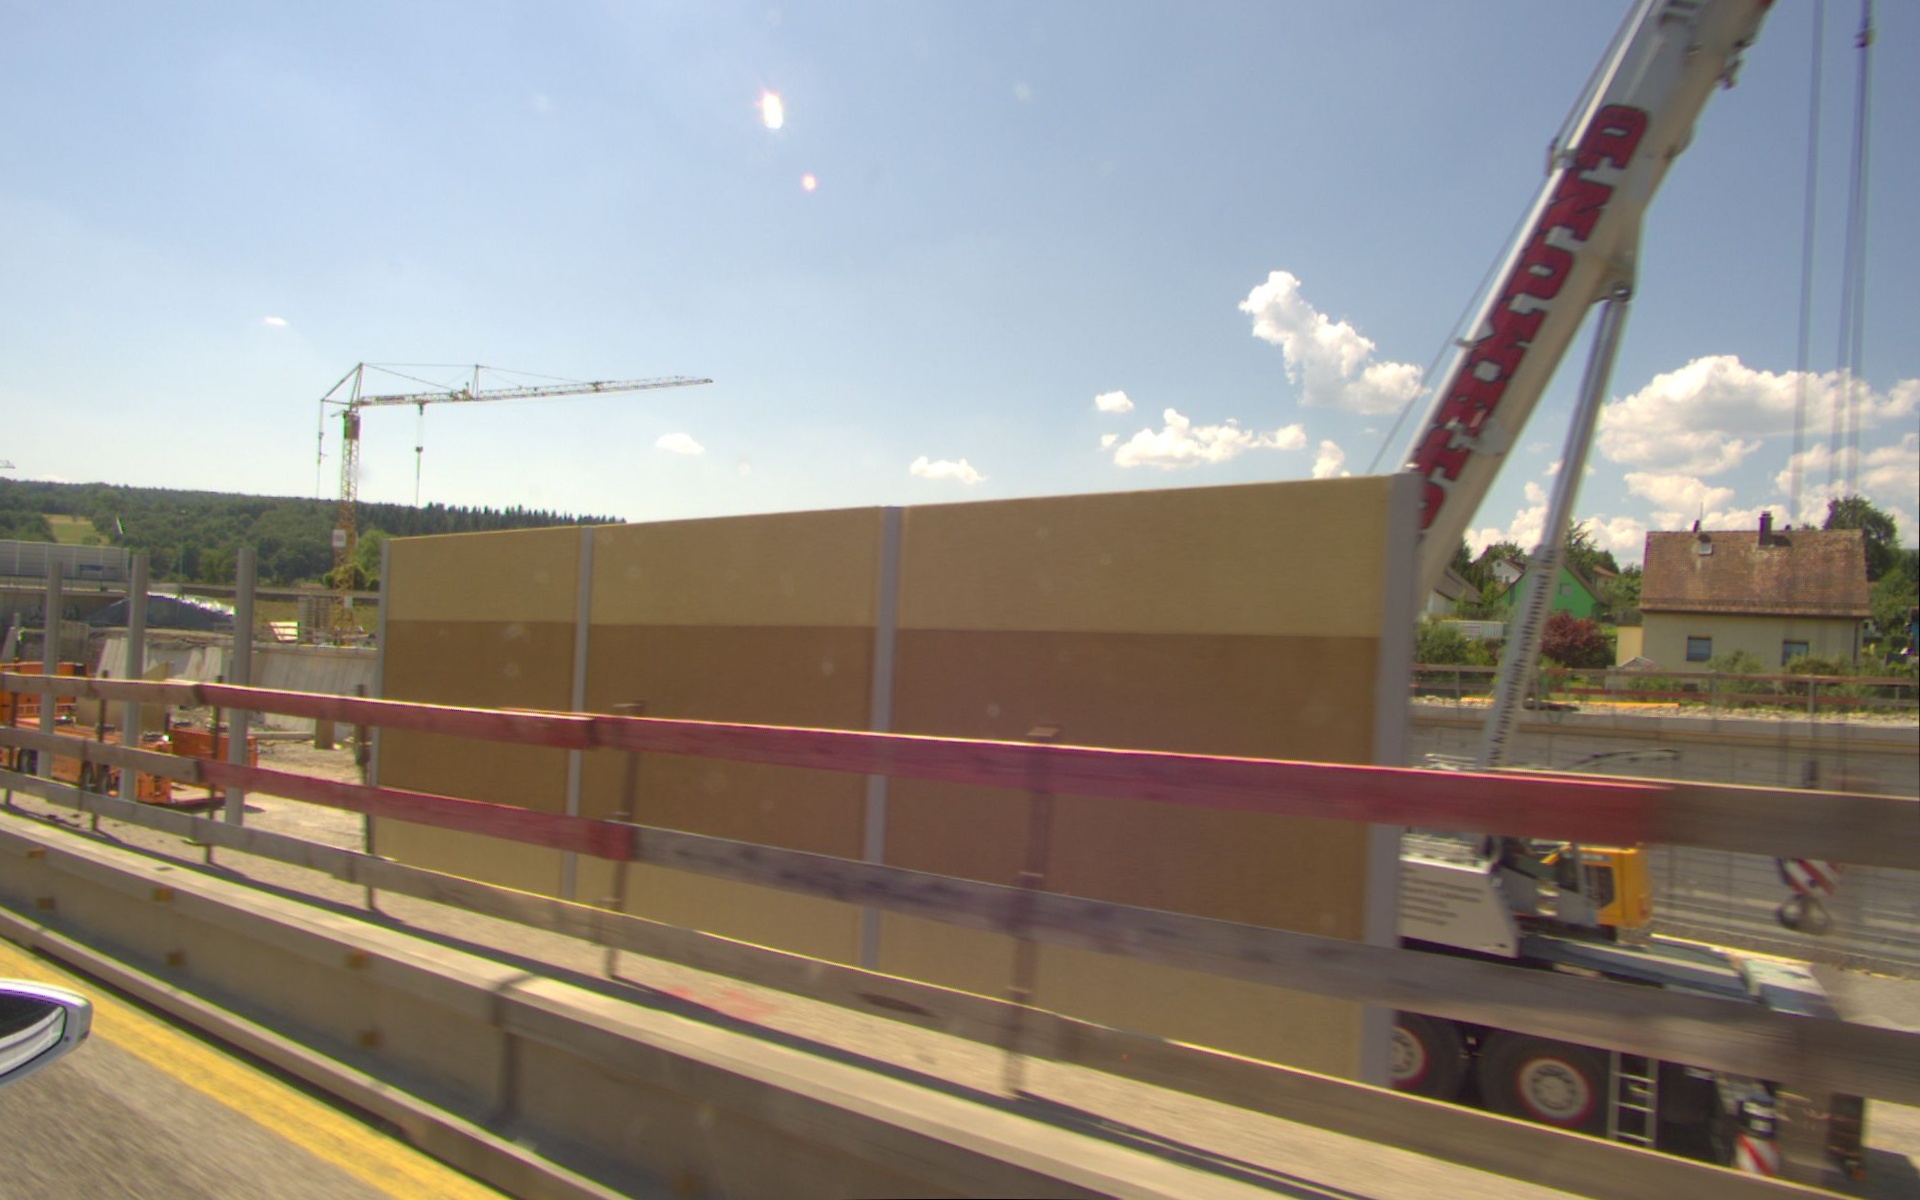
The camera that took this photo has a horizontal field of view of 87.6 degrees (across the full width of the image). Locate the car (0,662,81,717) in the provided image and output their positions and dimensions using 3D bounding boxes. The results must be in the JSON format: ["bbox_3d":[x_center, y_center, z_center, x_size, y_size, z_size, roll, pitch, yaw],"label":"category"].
[{"bbox_3d":[-49.424,4.555,51.248,2.486,2.617,6.097,2,-2,23],"label":"car"}]

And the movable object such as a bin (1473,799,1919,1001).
[{"bbox_3d":[14.905,5.818,20.278,7.783,2.476,3.159,-1,-4,33],"label":"movable object such as a bin"}]

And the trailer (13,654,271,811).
[{"bbox_3d":[-26.384,3.844,31.913,12.868,3.936,2.753,0,-2,34],"label":"trailer"}]

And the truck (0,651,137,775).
[{"bbox_3d":[-32.330,3.890,35.918,5.800,3.936,2.753,0,-2,34],"label":"truck"}]

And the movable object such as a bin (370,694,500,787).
[{"bbox_3d":[-19.770,5.166,37.682,4.755,3.061,2.276,-1,-4,34],"label":"movable object such as a bin"}]

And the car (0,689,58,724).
[{"bbox_3d":[-54.179,5.976,56.346,1.972,1.796,4.720,2,-2,34],"label":"car"}]

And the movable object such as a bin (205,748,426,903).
[{"bbox_3d":[-13.693,4.594,21.216,4.754,2.461,2.165,-1,-4,34],"label":"movable object such as a bin"}]
